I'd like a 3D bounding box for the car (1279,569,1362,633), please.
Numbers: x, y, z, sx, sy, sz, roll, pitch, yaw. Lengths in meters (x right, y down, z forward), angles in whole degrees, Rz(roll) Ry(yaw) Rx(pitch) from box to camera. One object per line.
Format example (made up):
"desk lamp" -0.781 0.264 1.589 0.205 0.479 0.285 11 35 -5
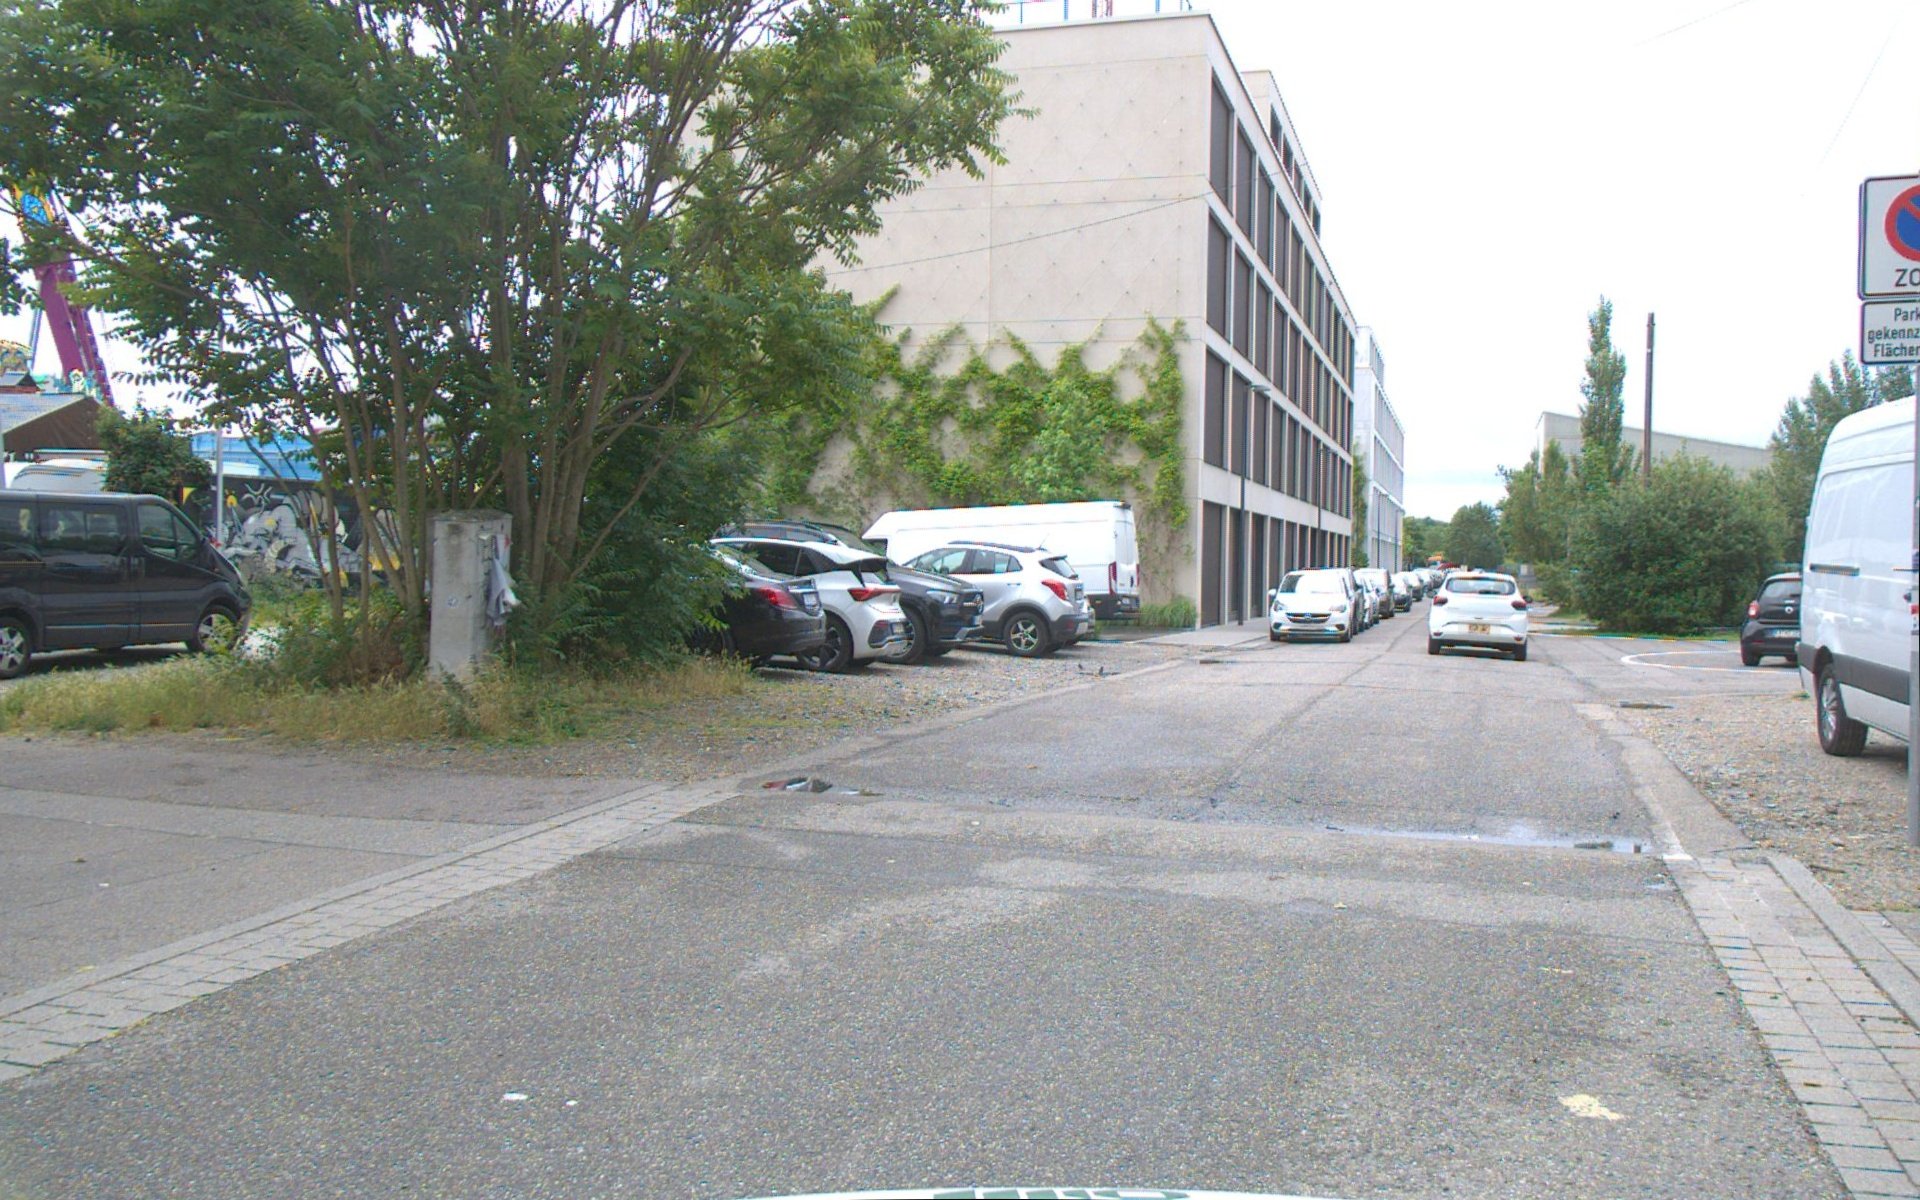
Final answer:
"car" 9.078 -0.007 41.461 1.845 1.478 4.004 1 2 15

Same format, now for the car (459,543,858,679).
"car" -3.292 0.108 18.312 3.902 1.373 1.893 1 -1 16

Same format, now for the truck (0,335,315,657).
"truck" -12.320 -1.311 21.926 2.537 3.888 8.224 1 2 16

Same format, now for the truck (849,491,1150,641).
"truck" 0.796 -0.741 33.690 5.718 2.775 2.055 3 2 21

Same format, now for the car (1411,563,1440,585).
"car" 32.630 -1.814 115.986 1.845 1.478 4.004 1 2 15

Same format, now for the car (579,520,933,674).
"car" -2.495 -0.071 20.581 3.903 1.673 1.893 3 1 16

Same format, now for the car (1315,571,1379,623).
"car" 12.071 -0.132 51.440 1.845 1.478 4.004 1 2 15

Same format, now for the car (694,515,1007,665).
"car" -1.487 -0.184 22.967 3.903 1.911 1.893 1 2 16

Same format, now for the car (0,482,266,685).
"car" -10.159 -0.268 18.526 1.951 2.048 4.593 2 3 16

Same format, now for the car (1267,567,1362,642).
"car" 7.773 0.047 36.021 1.845 1.478 4.004 1 2 15

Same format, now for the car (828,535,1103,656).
"car" 0.123 -0.101 25.901 3.903 1.673 1.893 3 1 16

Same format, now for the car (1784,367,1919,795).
"car" 7.091 -0.135 10.701 2.049 2.600 6.048 1 2 16

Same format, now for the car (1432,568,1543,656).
"car" 9.793 0.162 30.904 1.845 1.478 4.003 1 2 16

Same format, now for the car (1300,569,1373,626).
"car" 10.514 -0.112 46.027 1.845 1.478 4.004 1 2 15

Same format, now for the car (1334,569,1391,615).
"car" 13.986 -0.300 57.400 1.845 1.478 4.004 1 2 15

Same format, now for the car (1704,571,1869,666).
"car" 14.219 0.260 28.673 1.845 1.478 4.003 1 2 16

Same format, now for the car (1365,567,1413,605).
"car" 17.724 -0.607 68.394 1.845 1.478 4.004 1 2 15
